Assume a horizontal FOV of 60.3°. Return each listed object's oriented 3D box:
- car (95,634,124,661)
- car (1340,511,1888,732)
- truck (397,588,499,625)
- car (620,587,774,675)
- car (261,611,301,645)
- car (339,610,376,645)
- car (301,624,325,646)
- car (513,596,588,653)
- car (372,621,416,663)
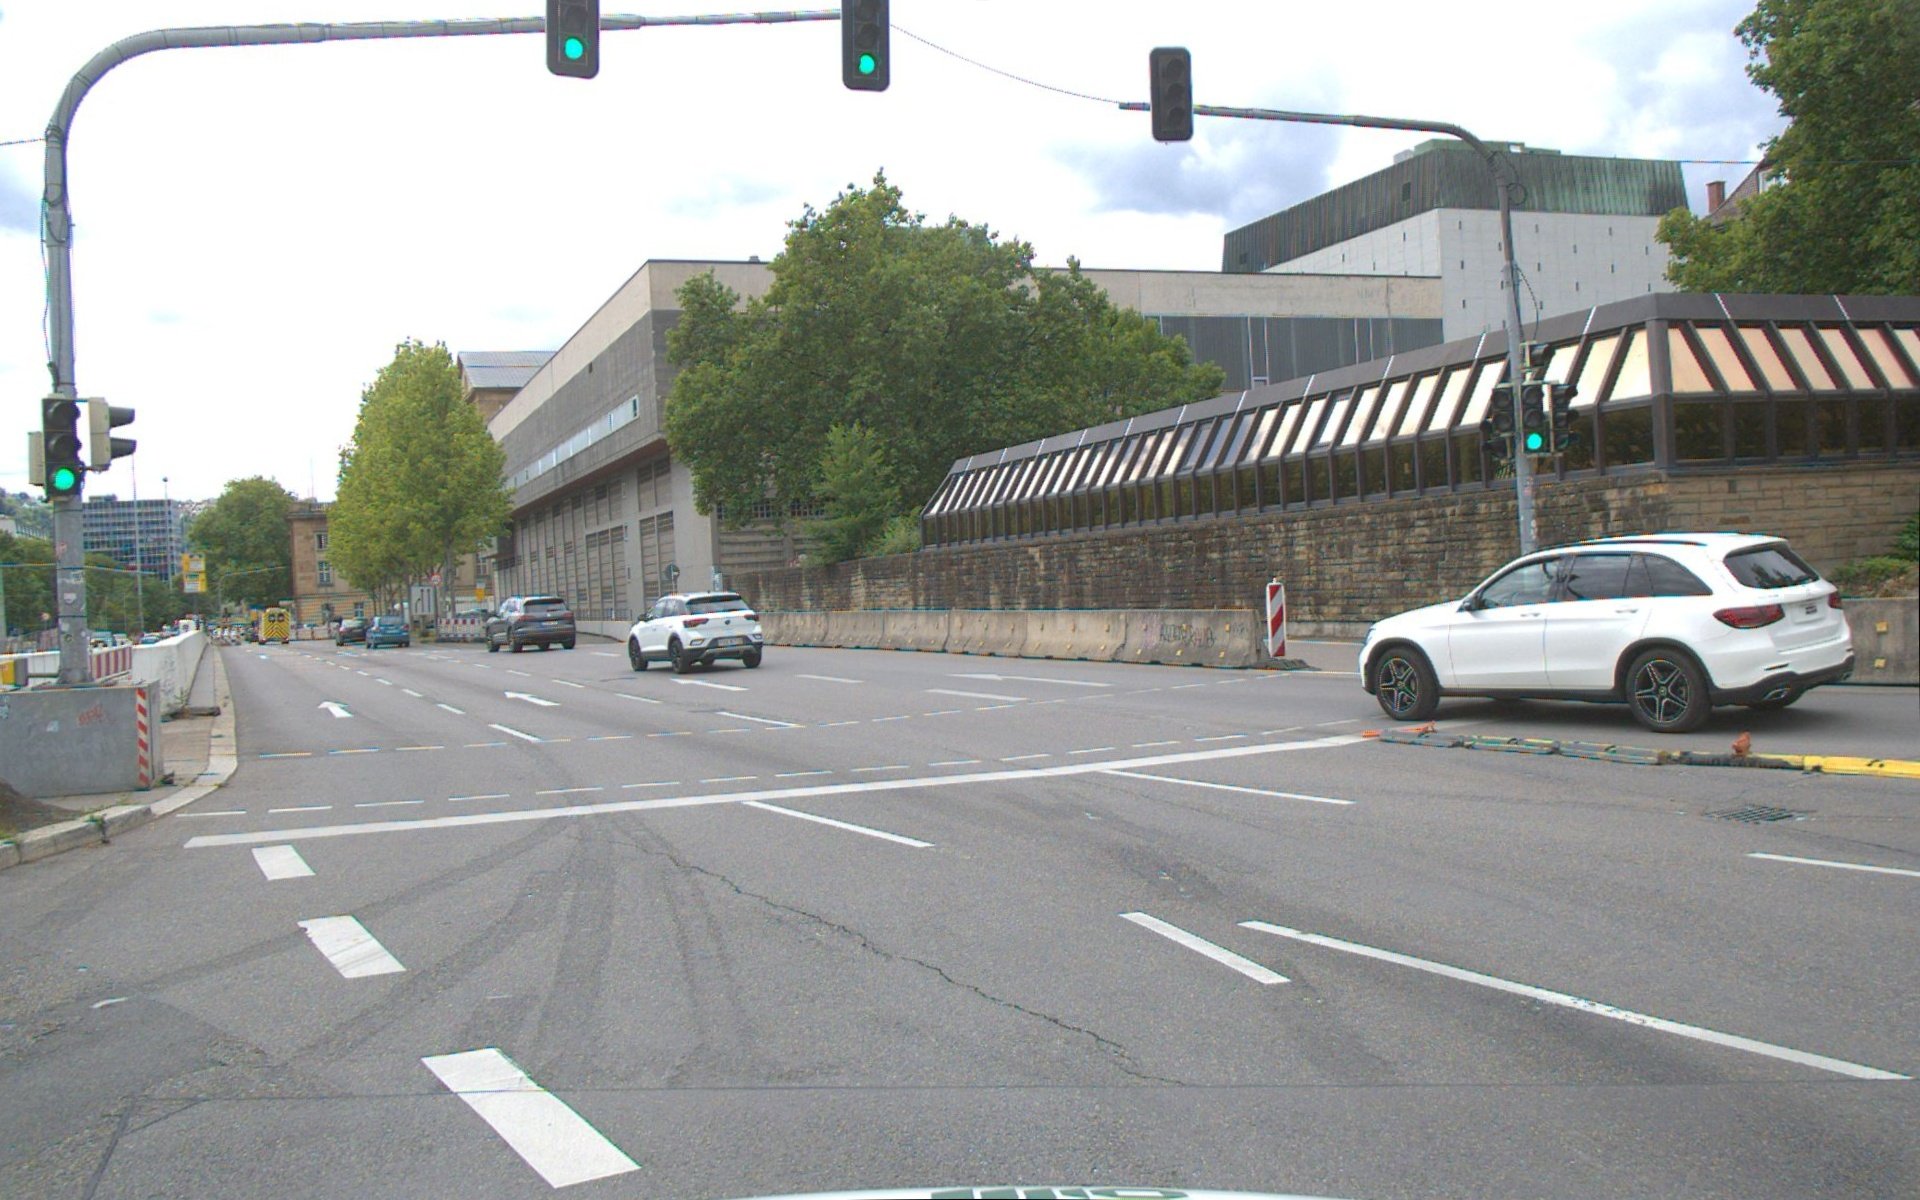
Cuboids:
[{"bbox_3d":[-74.222,4.123,144.347,1.969,2.048,3.968,-4,2,-25],"label":"car"},{"bbox_3d":[5.939,0.198,15.555,1.798,1.670,4.495,-6,2,-35],"label":"car"},{"bbox_3d":[-53.666,0.690,173.525,9.902,3.103,2.549,-4,-1,-25],"label":"truck"},{"bbox_3d":[-5.536,0.622,34.412,1.732,1.594,4.289,-5,2,-29],"label":"car"},{"bbox_3d":[-53.708,2.201,130.897,2.545,2.415,5.493,-4,1,-20],"label":"car"},{"bbox_3d":[-33.905,1.557,93.178,1.797,1.770,4.453,-4,1,-20],"label":"car"},{"bbox_3d":[-59.108,3.177,151.112,1.797,1.770,4.453,-4,1,-20],"label":"car"},{"bbox_3d":[-12.862,0.732,52.202,1.790,1.595,4.470,-4,1,-9],"label":"car"},{"bbox_3d":[-26.475,1.924,77.271,1.797,1.770,4.453,-4,1,-20],"label":"car"}]
